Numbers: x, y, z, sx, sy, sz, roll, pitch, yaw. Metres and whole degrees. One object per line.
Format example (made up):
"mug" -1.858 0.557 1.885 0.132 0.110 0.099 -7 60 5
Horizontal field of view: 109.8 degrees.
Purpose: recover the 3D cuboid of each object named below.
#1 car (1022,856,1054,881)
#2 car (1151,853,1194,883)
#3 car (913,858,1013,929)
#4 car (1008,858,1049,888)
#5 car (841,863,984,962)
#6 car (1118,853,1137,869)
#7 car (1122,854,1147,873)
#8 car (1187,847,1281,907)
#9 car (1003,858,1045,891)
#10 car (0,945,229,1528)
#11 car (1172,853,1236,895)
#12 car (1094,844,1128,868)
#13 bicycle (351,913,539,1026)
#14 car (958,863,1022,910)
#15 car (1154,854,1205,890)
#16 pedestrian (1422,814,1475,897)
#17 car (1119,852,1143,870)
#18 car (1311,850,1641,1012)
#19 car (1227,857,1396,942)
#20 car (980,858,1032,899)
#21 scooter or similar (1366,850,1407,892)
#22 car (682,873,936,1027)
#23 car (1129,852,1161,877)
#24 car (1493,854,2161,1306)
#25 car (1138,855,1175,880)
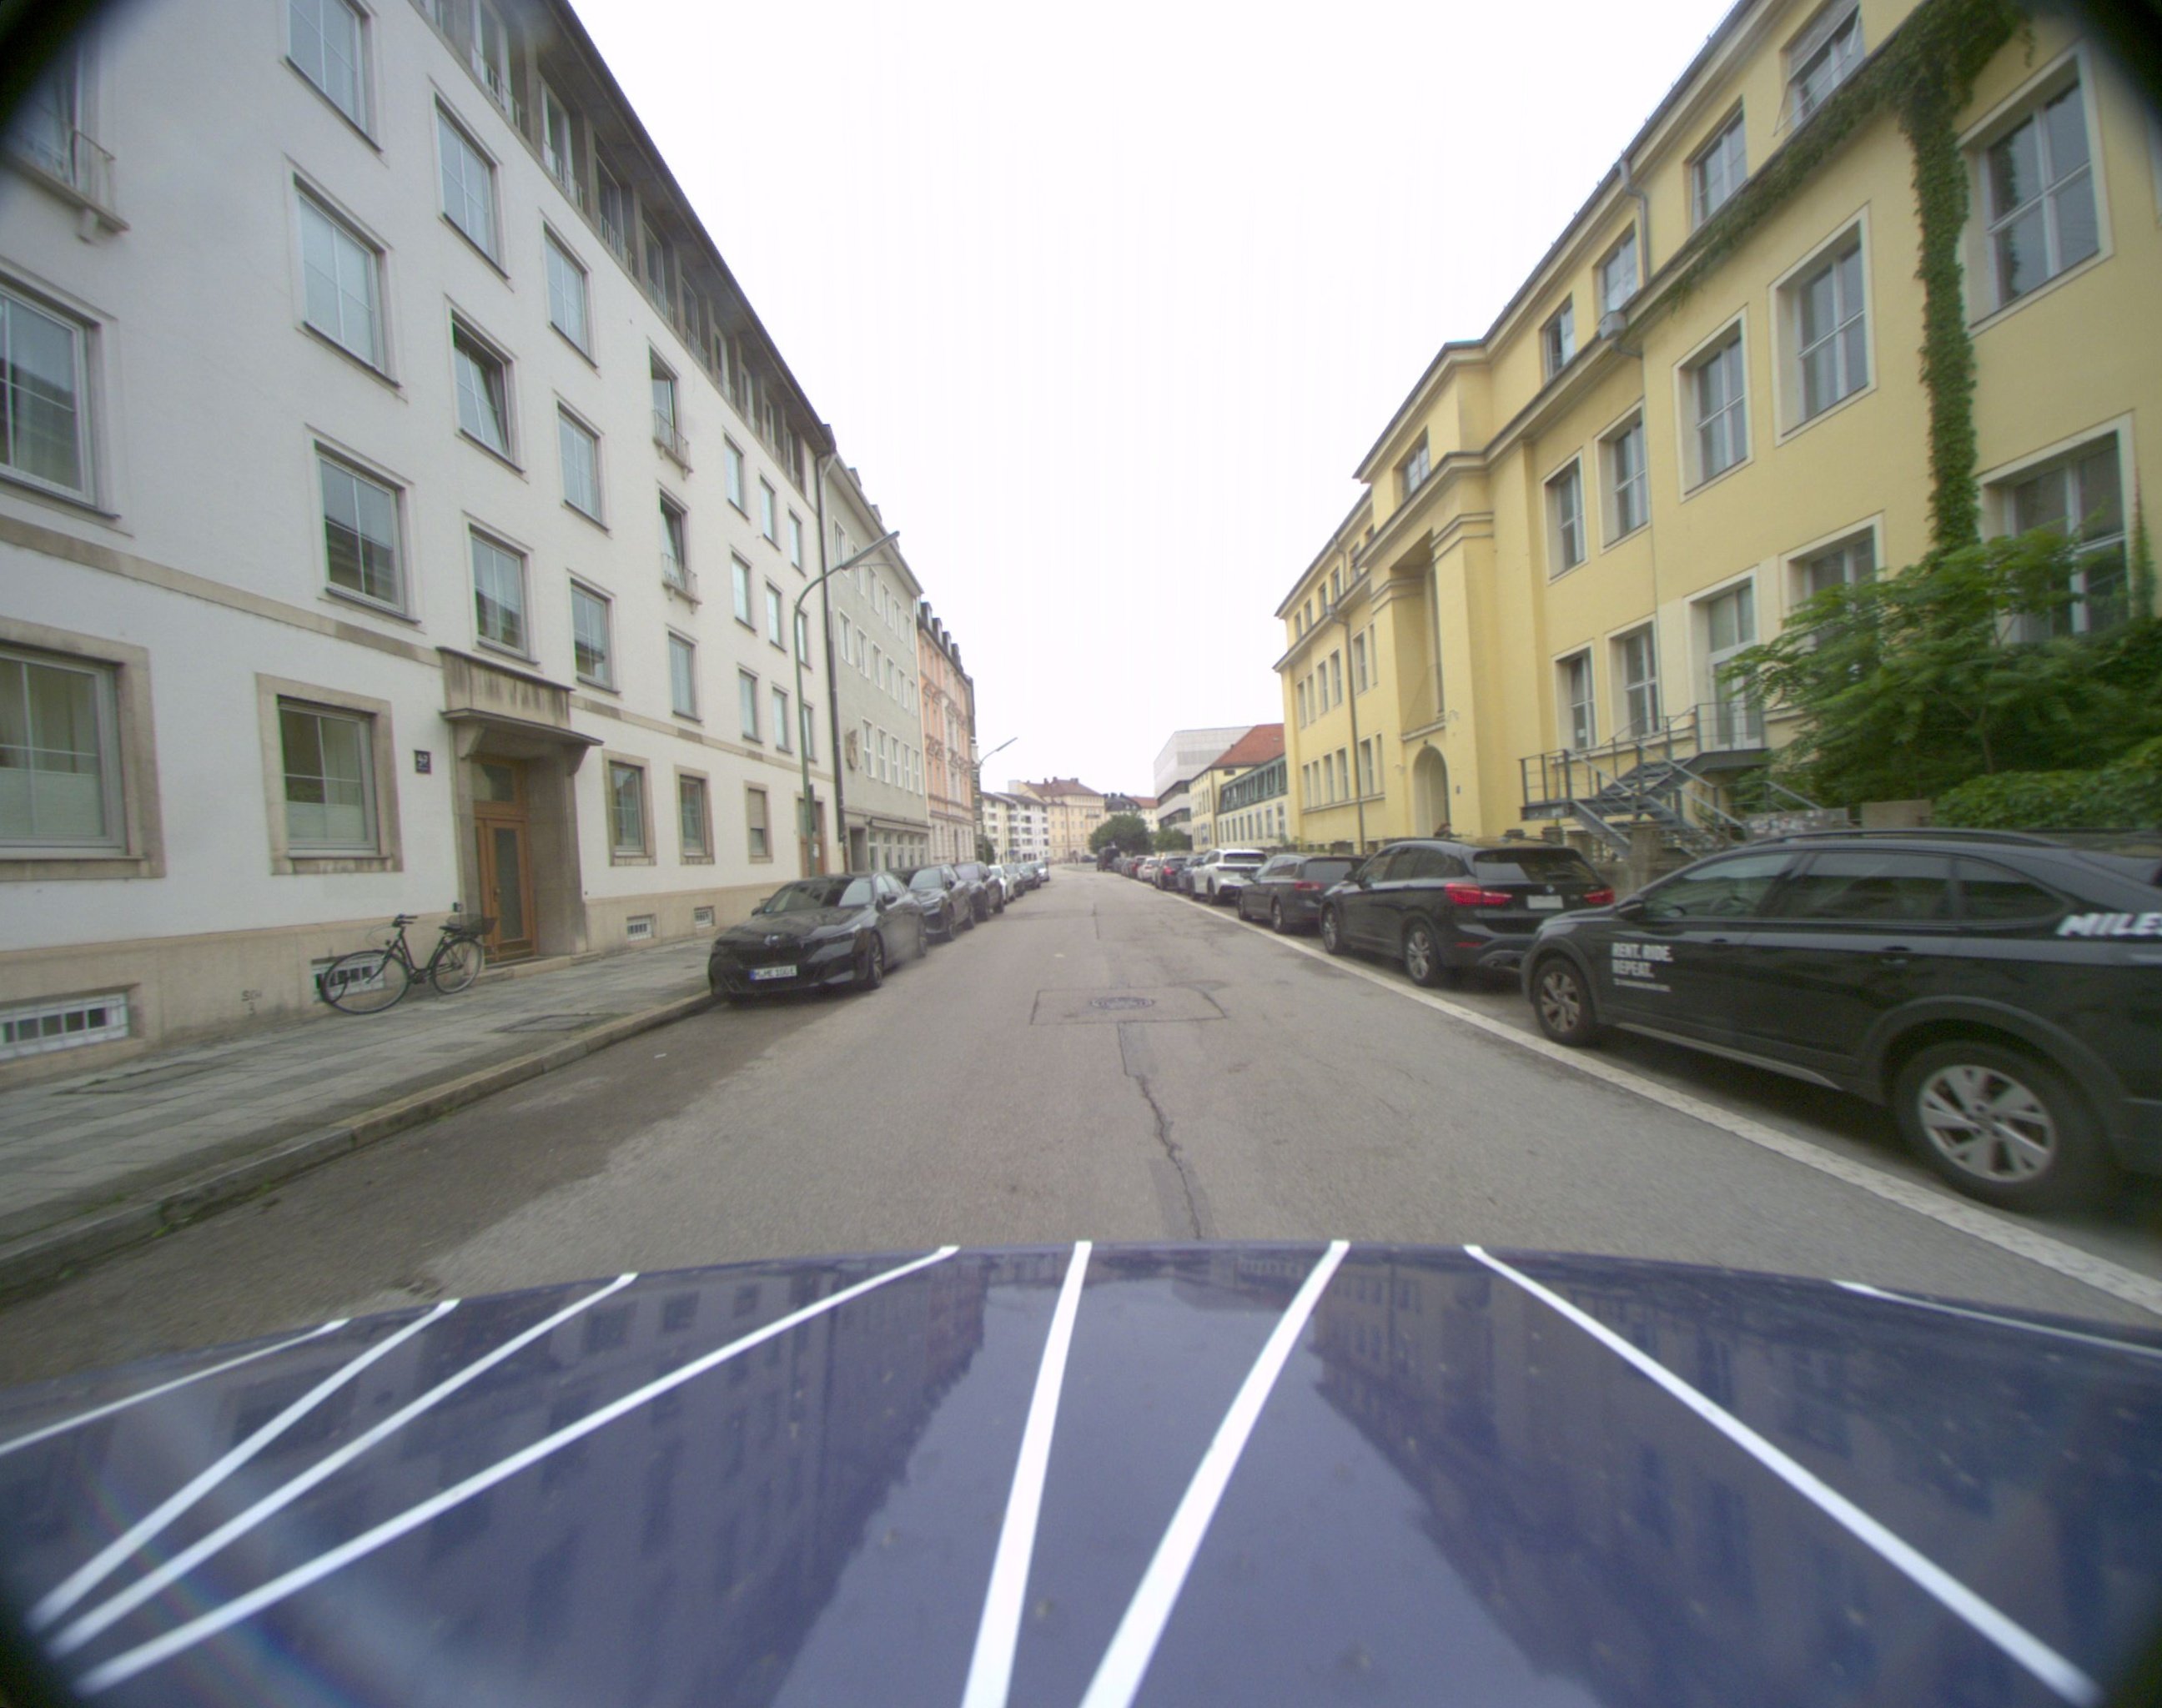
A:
"car" -3.198 1.079 57.526 2.001 1.563 4.491 -6 0 0
"car" 4.552 0.665 38.328 1.690 1.438 4.112 -1 0 0
"car" -3.148 0.997 21.142 1.831 1.572 4.491 -5 0 2
"car" -3.198 1.136 47.052 2.001 1.563 4.491 -6 0 1
"car" -3.362 1.096 16.103 1.831 1.572 4.491 -5 0 1
"car" 4.700 0.660 76.805 1.673 1.509 3.947 -2 0 0
"car" 4.301 0.734 61.748 1.673 1.419 3.947 -2 0 0
"car" 4.461 0.617 22.848 1.786 1.631 4.299 0 0 -2
"car" -3.017 1.062 41.209 1.725 1.458 4.192 -6 0 2
"car" -3.815 1.164 0.885 1.618 1.508 3.380 -7 0 1
"car" 4.502 0.683 28.332 1.611 1.438 3.916 0 0 -2
"car" 3.372 0.259 88.217 2.848 2.537 6.889 -3 0 -6
"bicycle" -7.693 1.346 9.344 0.599 1.073 2.039 -1 0 -1
"car" -3.317 1.161 28.506 1.745 1.422 4.181 -5 0 0
"car" 4.213 0.743 33.046 1.738 1.431 3.779 -1 0 0
"pedestrian" 8.364 0.041 17.320 0.776 1.814 0.782 -3 1 3
"car" 4.675 0.628 71.858 1.998 1.631 4.209 -2 0 0
"car" 4.359 0.723 9.276 1.774 1.494 4.273 -1 0 -1
"car" 4.252 0.761 14.845 1.778 1.400 4.600 0 0 -2
"car" -3.359 1.074 34.573 1.768 1.531 4.000 -6 0 1
"scooter or similar" 8.623 0.472 21.494 0.532 1.129 1.445 -3 -1 1
"car" -3.470 1.119 10.786 1.878 1.439 4.699 -5 0 -1
"car" 4.312 0.676 51.635 1.774 1.545 4.209 -1 0 0
"car" 4.334 0.745 4.164 1.722 1.472 4.219 1 0 -2
"car" 4.498 0.765 45.872 1.816 1.390 4.019 -1 0 0
